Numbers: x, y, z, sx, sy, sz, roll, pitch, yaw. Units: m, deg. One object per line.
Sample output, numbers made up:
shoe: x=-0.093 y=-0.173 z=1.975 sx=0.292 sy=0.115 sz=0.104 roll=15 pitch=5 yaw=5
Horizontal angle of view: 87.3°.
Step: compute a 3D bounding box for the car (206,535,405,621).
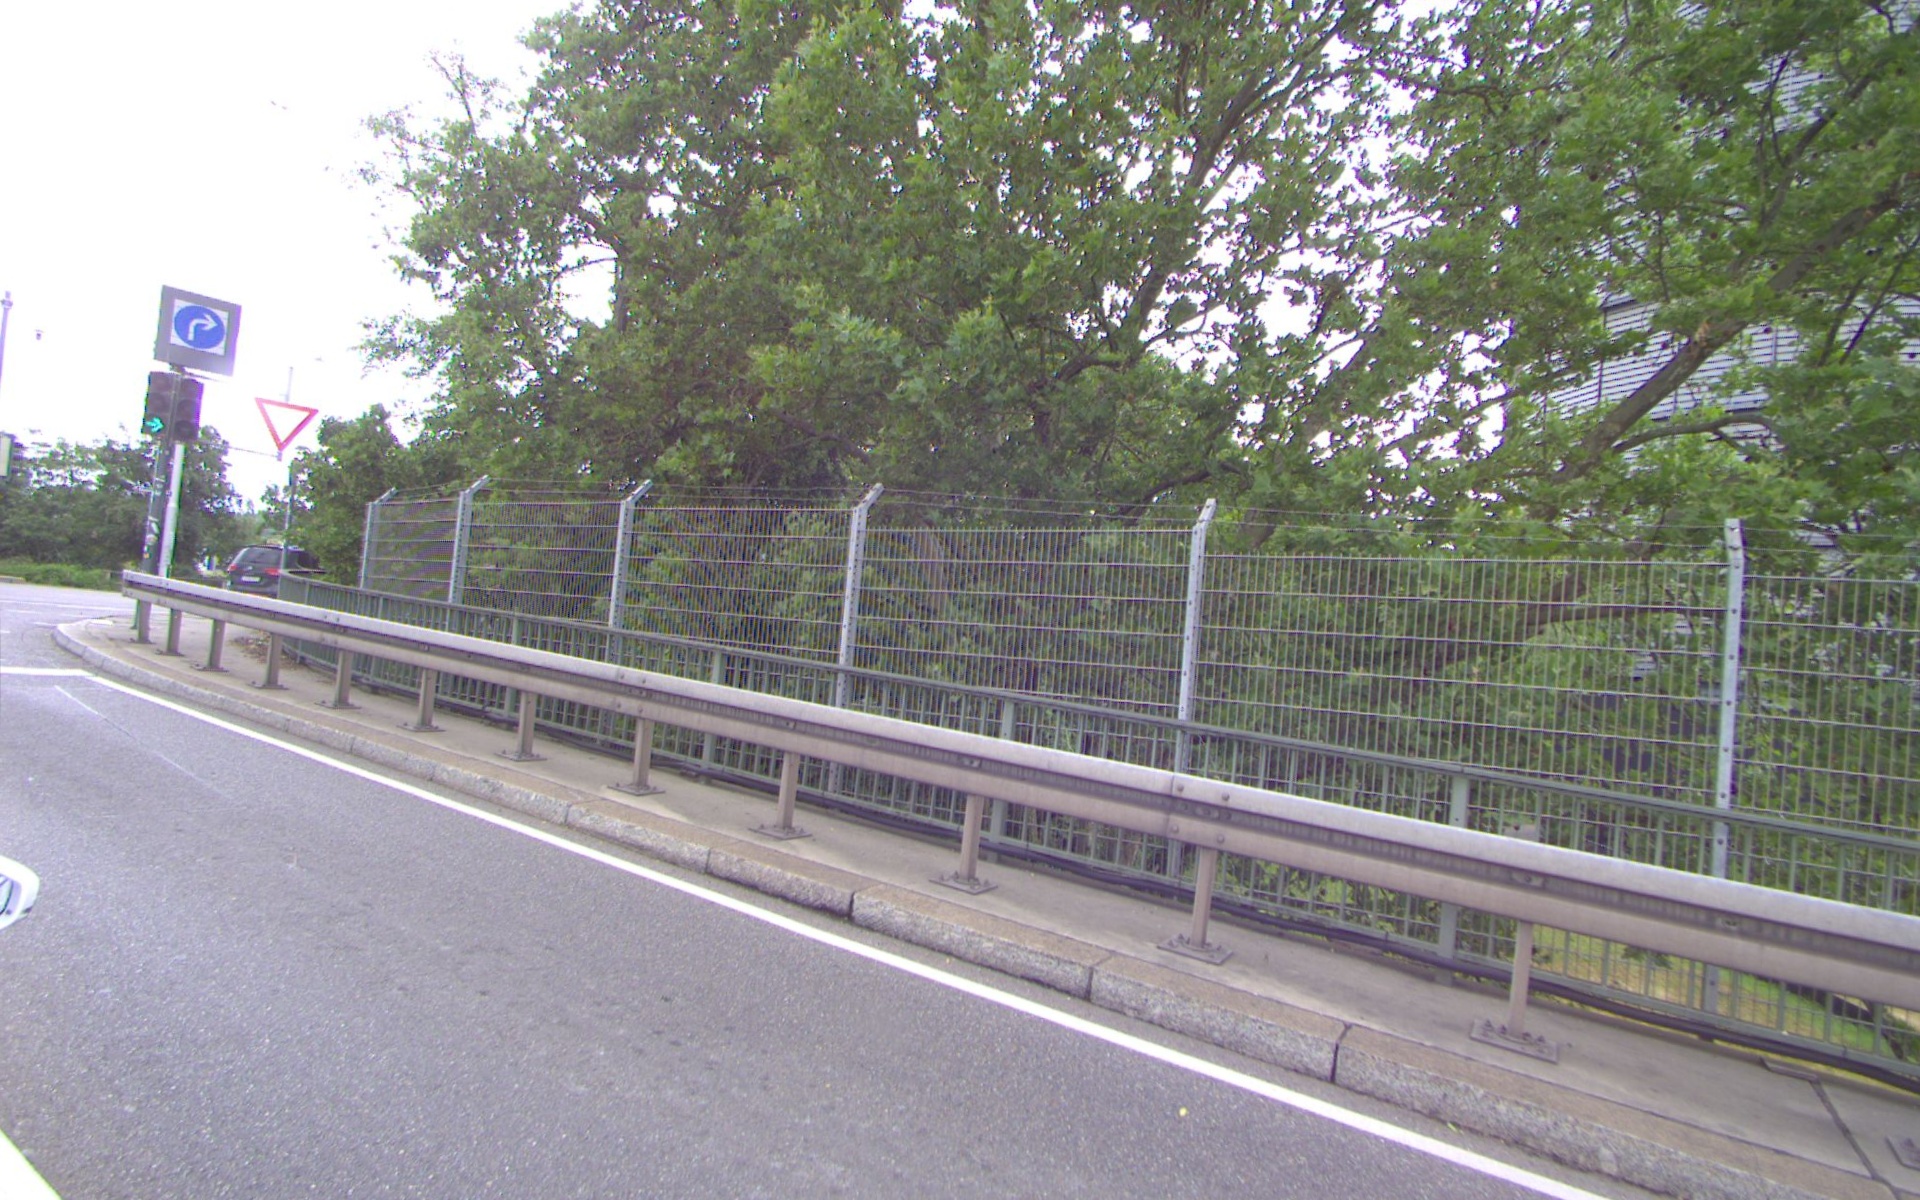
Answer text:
car: x=-16.541 y=-0.473 z=25.703 sx=1.767 sy=1.672 sz=4.156 roll=7 pitch=-2 yaw=9
